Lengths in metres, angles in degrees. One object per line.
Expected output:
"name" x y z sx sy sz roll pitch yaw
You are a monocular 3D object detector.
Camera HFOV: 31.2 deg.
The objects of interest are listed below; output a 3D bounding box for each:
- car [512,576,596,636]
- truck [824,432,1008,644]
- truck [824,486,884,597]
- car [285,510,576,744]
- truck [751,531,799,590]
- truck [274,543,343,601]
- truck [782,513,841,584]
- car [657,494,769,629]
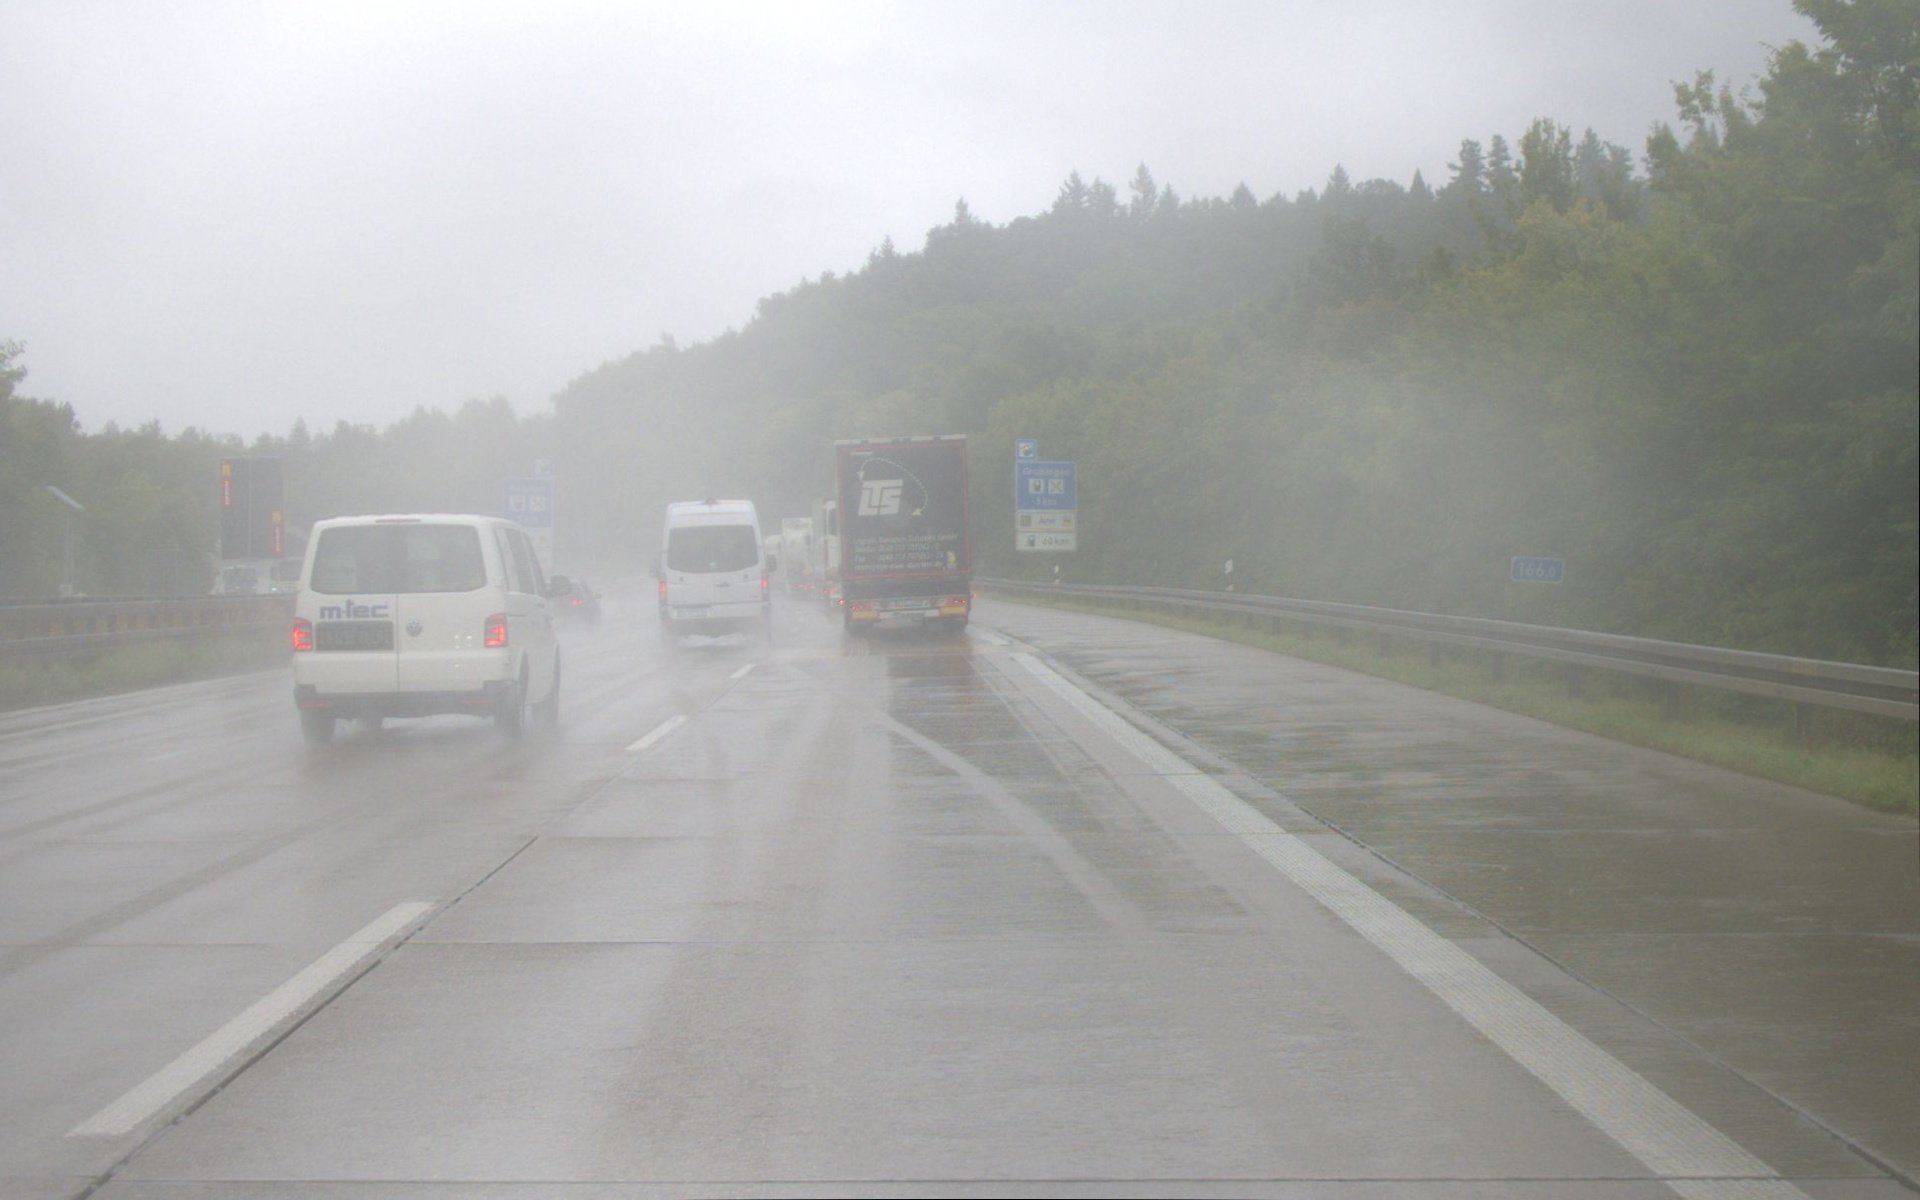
"car" -9.742 0.130 82.723 1.740 1.383 4.322 0 0 -3
"truck" -1.000 -1.400 71.568 3.385 3.954 8.668 -3 3 -2
"truck" -3.802 -2.087 123.017 1.993 3.793 6.734 -2 1 -2
"car" -4.586 0.192 30.463 1.899 1.888 5.043 -1 1 -1
"truck" -10.327 -2.202 191.161 1.993 3.159 6.735 -2 1 -8
"truck" -34.254 -1.506 180.929 2.297 3.008 7.923 0 1 -1
"truck" -6.890 -2.343 158.789 1.993 3.159 6.735 -2 1 -8
"car" -4.521 -0.712 62.535 1.899 2.326 5.251 -1 1 -5
